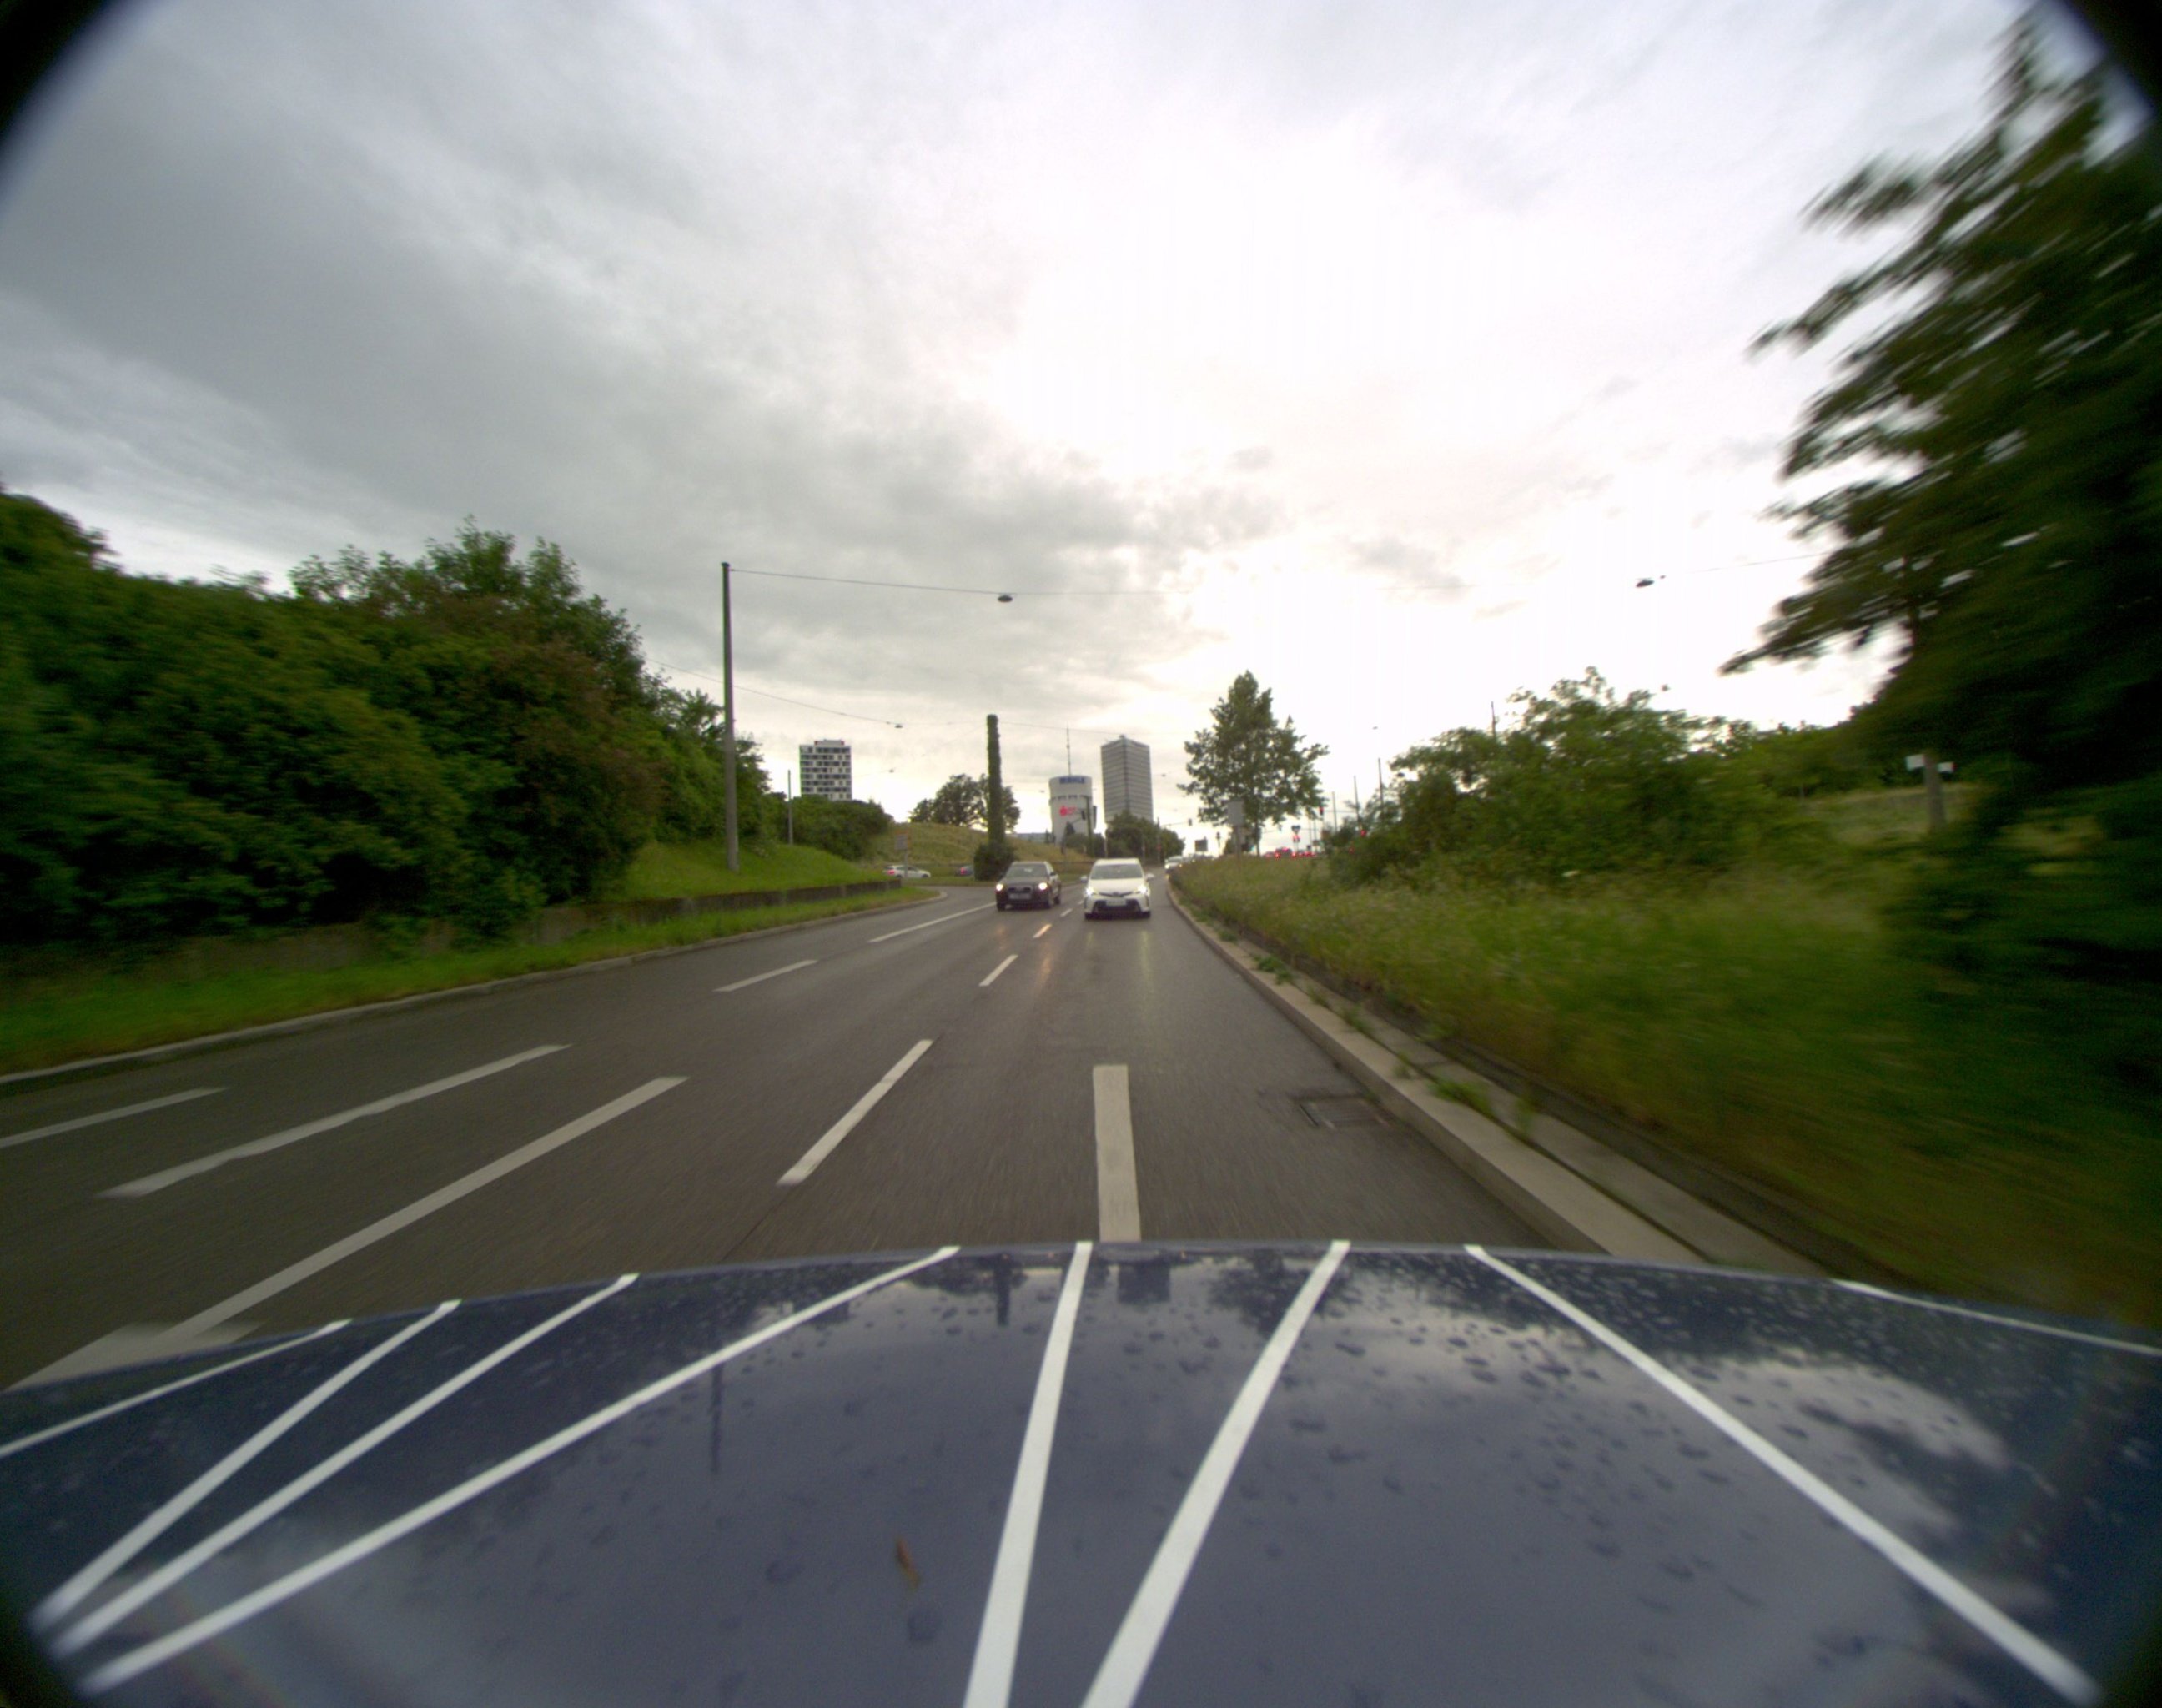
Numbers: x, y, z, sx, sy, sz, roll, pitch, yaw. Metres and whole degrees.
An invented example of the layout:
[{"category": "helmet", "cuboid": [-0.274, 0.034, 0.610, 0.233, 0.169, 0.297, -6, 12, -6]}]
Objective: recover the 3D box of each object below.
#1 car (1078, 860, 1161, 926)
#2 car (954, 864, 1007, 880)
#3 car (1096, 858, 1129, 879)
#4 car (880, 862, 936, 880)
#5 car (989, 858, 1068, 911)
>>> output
[{"category": "car", "cuboid": [0.969, 1.013, 21.424, 1.925, 1.604, 4.374, -1, 0, -2]}, {"category": "car", "cuboid": [-9.319, 1.694, 70.585, 4.563, 1.342, 1.839, 0, -2, -42]}, {"category": "car", "cuboid": [2.165, 1.016, 53.687, 1.846, 1.377, 3.998, -1, 0, -5]}, {"category": "car", "cuboid": [-14.870, 1.491, 65.411, 4.281, 1.419, 2.070, 0, -3, -45]}, {"category": "car", "cuboid": [-1.730, 1.010, 26.603, 1.926, 1.591, 4.281, -2, 0, 7]}]
